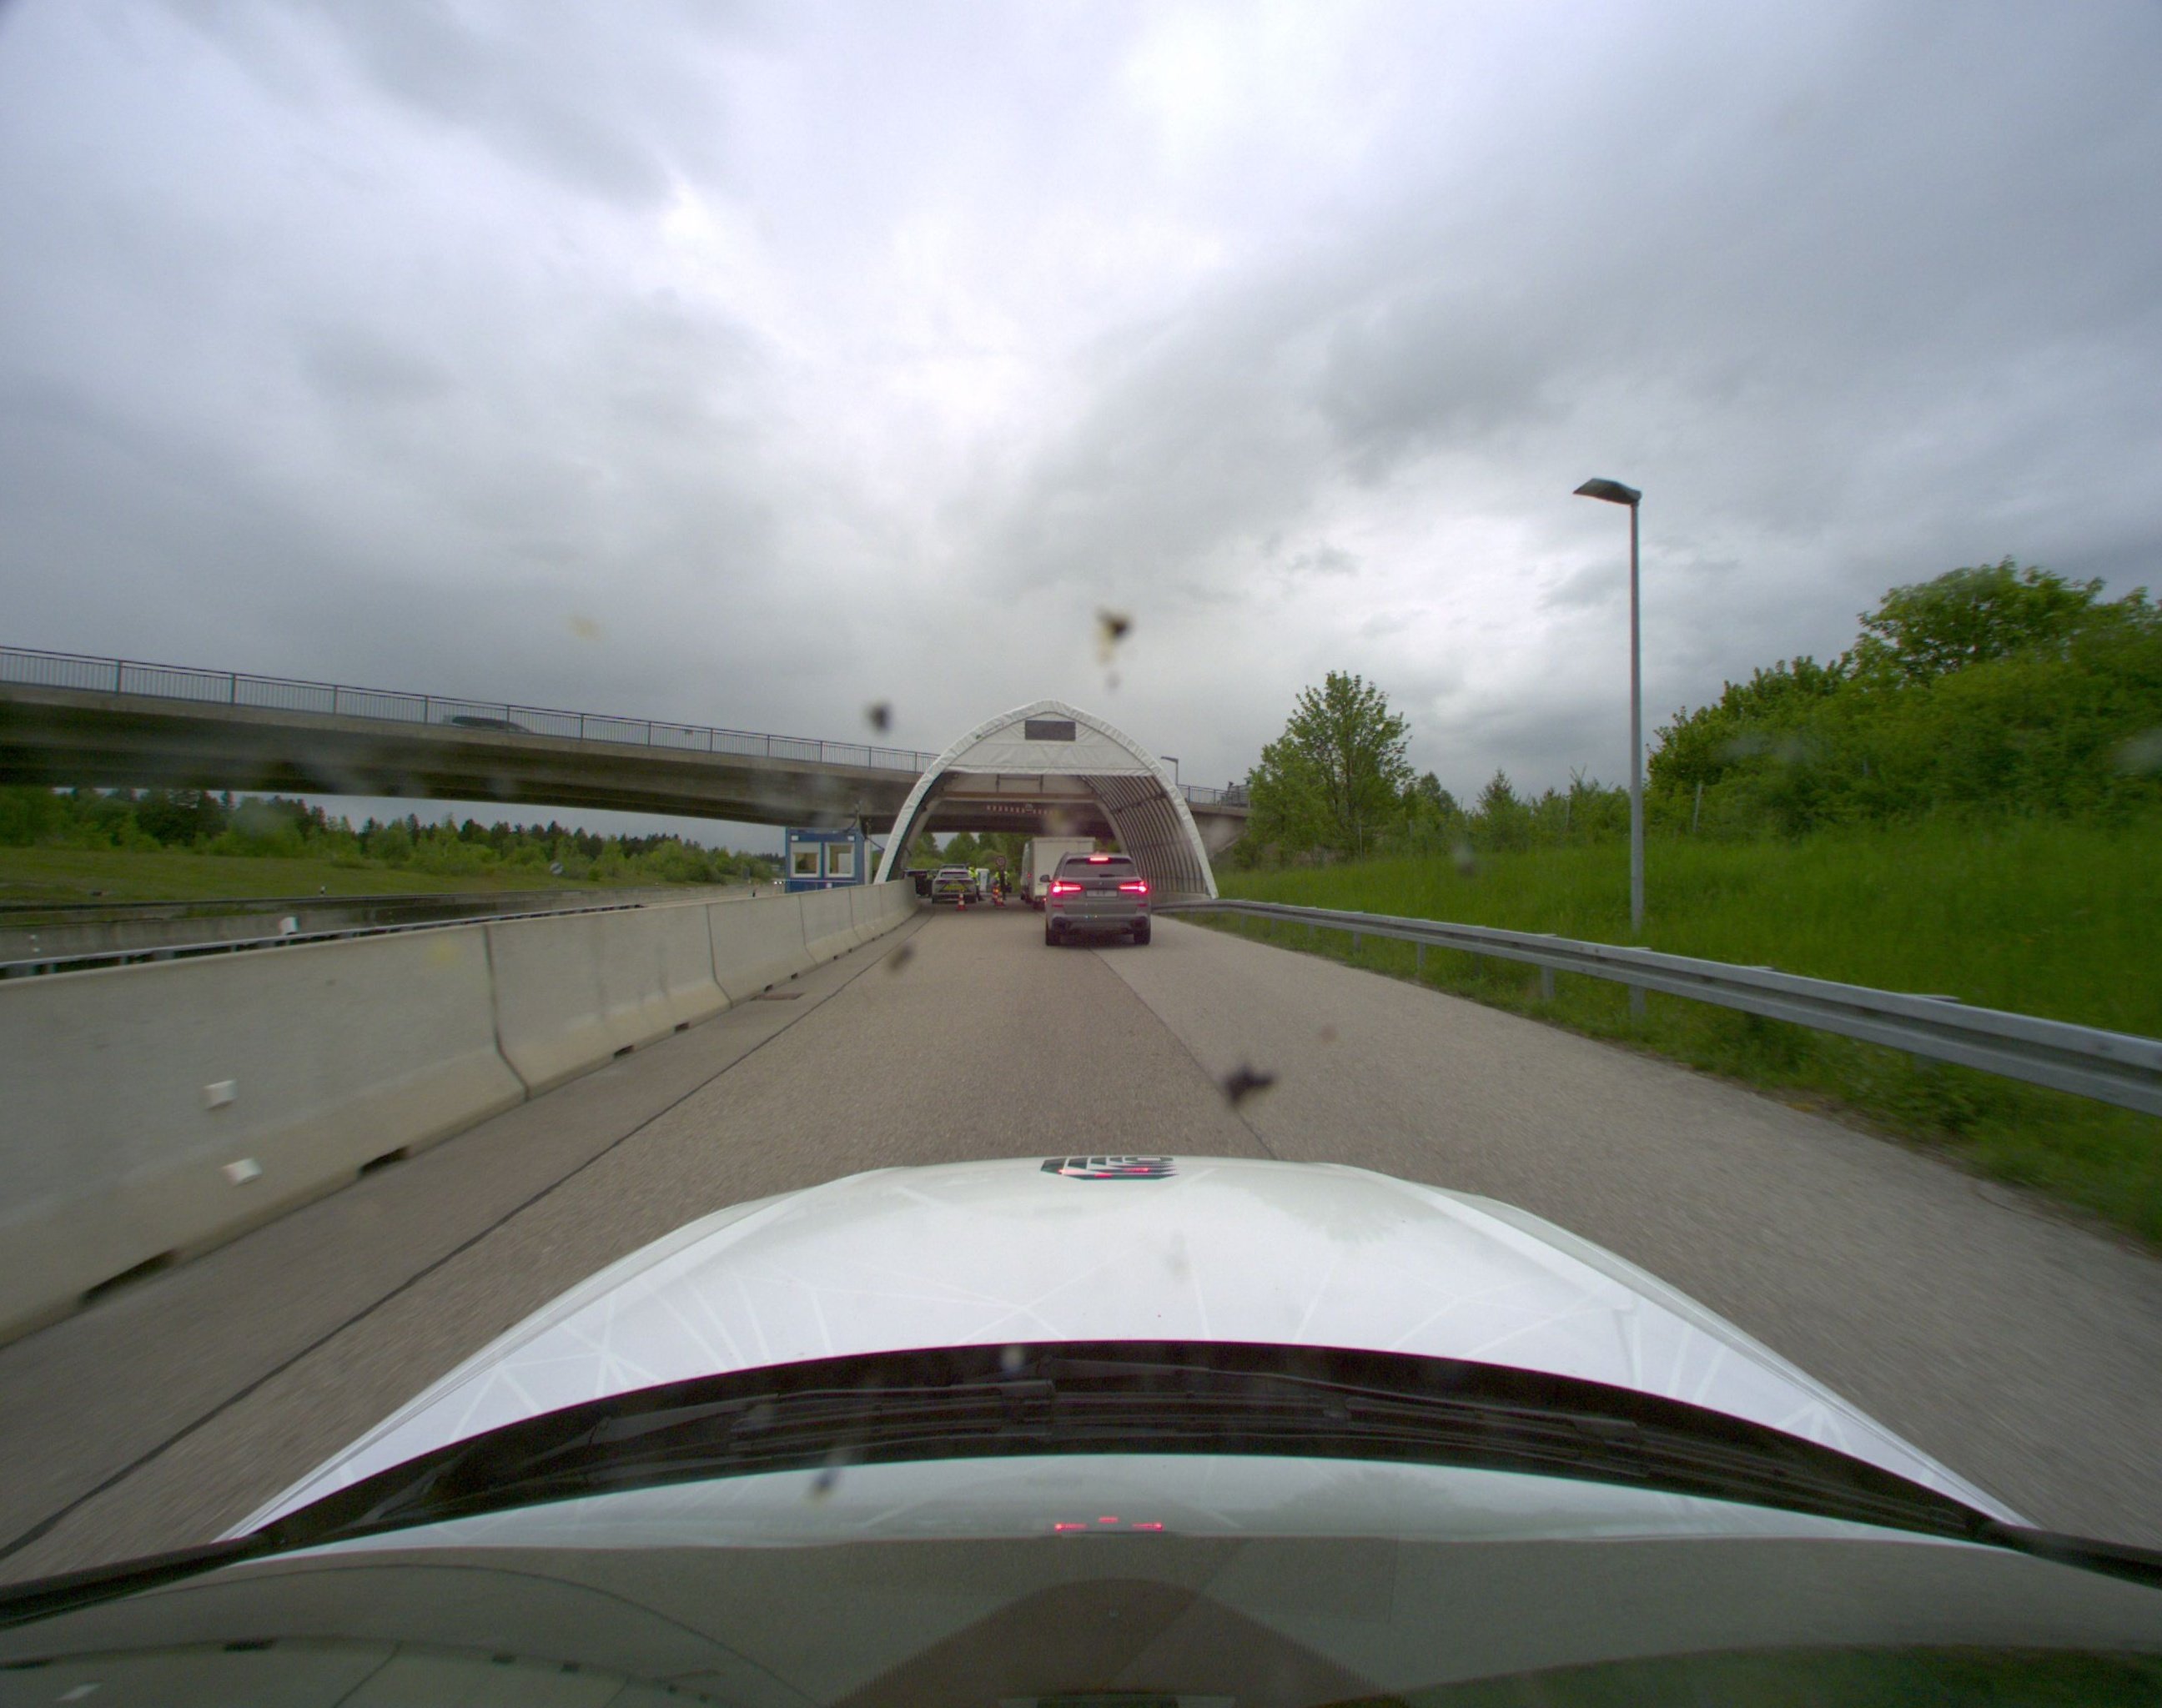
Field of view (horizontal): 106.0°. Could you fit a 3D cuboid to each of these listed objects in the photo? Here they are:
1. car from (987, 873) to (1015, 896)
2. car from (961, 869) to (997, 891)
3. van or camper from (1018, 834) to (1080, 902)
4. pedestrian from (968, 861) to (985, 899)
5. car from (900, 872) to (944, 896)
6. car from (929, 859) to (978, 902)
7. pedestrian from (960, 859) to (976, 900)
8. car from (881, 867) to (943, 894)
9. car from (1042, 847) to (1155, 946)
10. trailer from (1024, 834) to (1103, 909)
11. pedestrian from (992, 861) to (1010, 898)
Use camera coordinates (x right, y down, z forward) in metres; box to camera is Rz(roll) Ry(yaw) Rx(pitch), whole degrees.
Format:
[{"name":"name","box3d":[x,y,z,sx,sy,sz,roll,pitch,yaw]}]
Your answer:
[{"name":"car","box3d":[-6.728,2.511,67.935,1.706,1.854,3.980,-1,-1,-14]},{"name":"car","box3d":[-9.731,2.444,77.461,2.005,2.014,3.963,0,-2,-28]},{"name":"van or camper","box3d":[-1.526,0.695,36.341,2.155,2.764,5.854,-1,-2,-8]},{"name":"pedestrian","box3d":[-4.941,1.209,38.458,0.720,1.776,0.688,-1,-2,-9]},{"name":"car","box3d":[-10.058,1.885,51.339,1.526,1.442,3.279,0,-2,-35]},{"name":"car","box3d":[-5.662,1.151,36.056,1.993,1.772,3.753,-1,-1,-9]},{"name":"pedestrian","box3d":[-5.493,1.225,39.489,0.720,1.946,0.688,-1,-2,-9]},{"name":"car","box3d":[-12.163,1.899,58.637,3.966,1.854,1.712,-2,-1,6]},{"name":"car","box3d":[0.227,0.807,16.421,1.989,1.720,3.995,-1,-2,-3]},{"name":"trailer","box3d":[-0.800,0.702,30.099,2.276,2.431,6.800,-1,-2,-6]},{"name":"pedestrian","box3d":[-3.871,1.234,39.172,0.652,1.776,0.600,0,-2,-28]}]
